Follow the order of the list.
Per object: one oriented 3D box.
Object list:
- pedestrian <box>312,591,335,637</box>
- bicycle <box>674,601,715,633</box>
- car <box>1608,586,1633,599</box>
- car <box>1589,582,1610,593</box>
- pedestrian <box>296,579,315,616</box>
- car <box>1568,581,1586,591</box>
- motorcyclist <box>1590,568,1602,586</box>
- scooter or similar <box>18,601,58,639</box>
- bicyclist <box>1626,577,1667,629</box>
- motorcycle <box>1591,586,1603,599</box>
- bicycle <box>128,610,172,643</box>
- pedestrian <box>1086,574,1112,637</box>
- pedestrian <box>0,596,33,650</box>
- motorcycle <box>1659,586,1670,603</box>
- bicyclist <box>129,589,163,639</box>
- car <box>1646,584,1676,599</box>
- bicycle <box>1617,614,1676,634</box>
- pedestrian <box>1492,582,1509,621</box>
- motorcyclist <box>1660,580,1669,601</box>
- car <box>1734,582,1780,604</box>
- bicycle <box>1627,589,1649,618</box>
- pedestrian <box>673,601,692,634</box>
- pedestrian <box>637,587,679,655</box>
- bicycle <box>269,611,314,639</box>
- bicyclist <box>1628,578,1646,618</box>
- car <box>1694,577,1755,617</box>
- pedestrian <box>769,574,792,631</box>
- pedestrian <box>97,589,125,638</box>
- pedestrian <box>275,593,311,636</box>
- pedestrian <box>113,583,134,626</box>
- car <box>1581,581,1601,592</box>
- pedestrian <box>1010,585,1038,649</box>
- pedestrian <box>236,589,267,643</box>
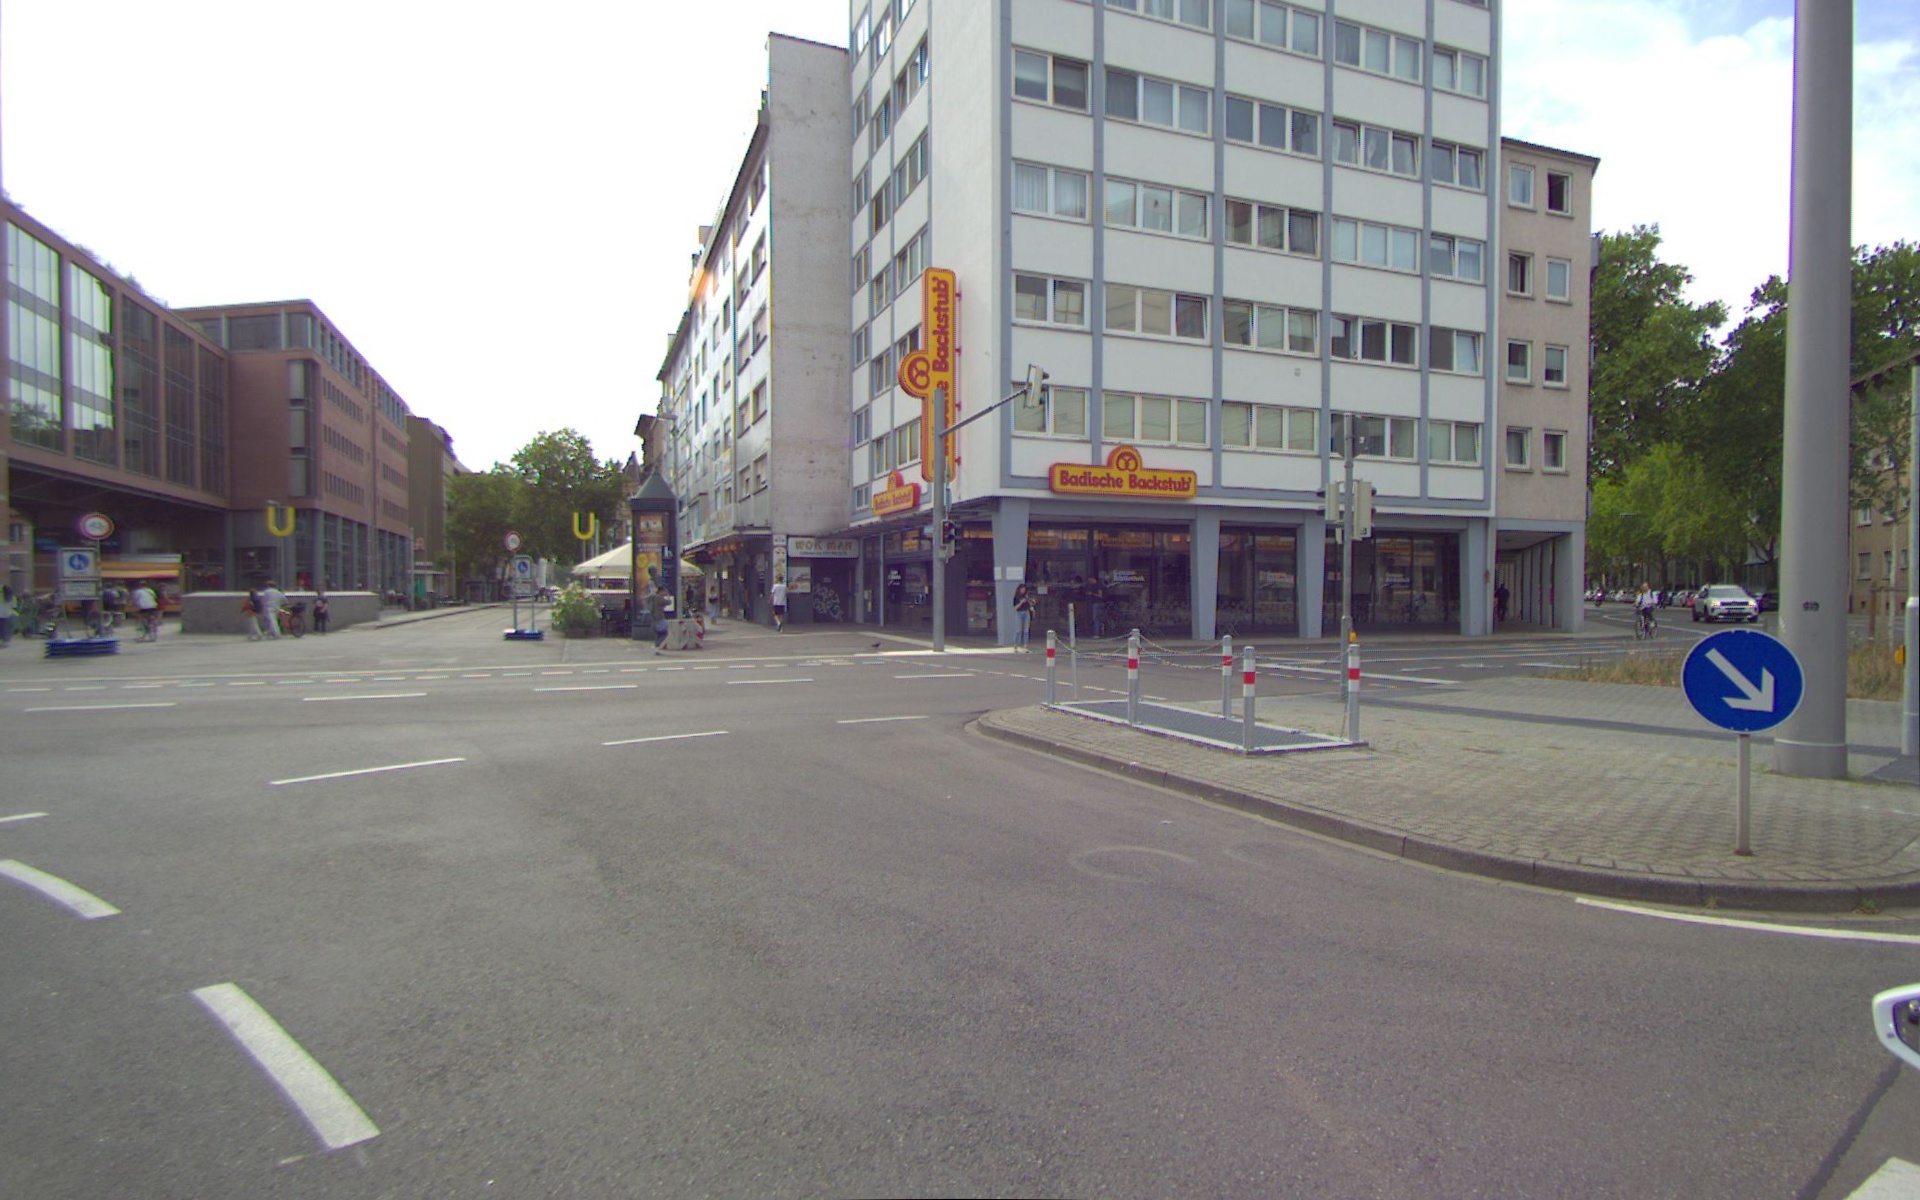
[{"bbox_3d":[-22.182,0.479,35.011,0.513,1.598,0.505,-1,1,-19],"label":"pedestrian"},{"bbox_3d":[-8.765,0.552,33.128,1.764,1.002,0.470,0,2,45],"label":"bicycle"},{"bbox_3d":[76.644,-0.872,116.535,1.649,1.412,4.458,0,1,23],"label":"car"},{"bbox_3d":[83.192,-1.658,130.678,1.614,1.432,3.415,0,1,20],"label":"car"},{"bbox_3d":[-30.087,-0.107,46.160,0.572,1.686,0.518,-1,1,-20],"label":"pedestrian"},{"bbox_3d":[88.671,-2.030,144.369,1.649,1.412,3.876,0,1,23],"label":"car"},{"bbox_3d":[53.843,-1.902,85.040,0.784,1.480,0.864,-2,0,27],"label":"motorcyclist"},{"bbox_3d":[-28.927,0.624,31.510,1.268,1.185,0.383,0,1,22],"label":"scooter or similar"},{"bbox_3d":[22.235,0.096,32.517,1.021,1.668,0.607,-1,1,-18],"label":"bicyclist"},{"bbox_3d":[53.761,-0.617,84.797,0.710,1.109,2.033,0,1,27],"label":"motorcycle"},{"bbox_3d":[-25.907,0.840,32.122,1.756,1.002,0.472,0,1,29],"label":"bicycle"},{"bbox_3d":[4.057,0.156,29.364,0.580,1.789,0.475,-2,2,-21],"label":"pedestrian"},{"bbox_3d":[-26.385,0.630,27.989,0.572,1.492,0.652,-1,1,-20],"label":"pedestrian"},{"bbox_3d":[56.010,-0.447,79.853,0.367,1.368,1.730,0,1,24],"label":"motorcycle"},{"bbox_3d":[-25.956,0.435,32.032,0.867,1.591,0.546,0,1,29],"label":"bicyclist"},{"bbox_3d":[68.877,-0.859,98.753,1.604,1.489,4.315,0,1,23],"label":"car"},{"bbox_3d":[22.323,0.766,32.657,1.966,0.596,0.483,-1,1,-18],"label":"bicycle"},{"bbox_3d":[24.867,0.053,46.223,0.572,1.781,0.783,2,2,24],"label":"pedestrian"},{"bbox_3d":[56.066,-0.780,79.947,0.439,1.669,0.519,0,1,24],"label":"motorcyclist"},{"bbox_3d":[56.694,-0.513,71.501,1.631,1.441,3.863,0,2,24],"label":"car"},{"bbox_3d":[29.827,0.138,44.173,0.503,1.241,1.563,0,1,23],"label":"bicycle"},{"bbox_3d":[-9.834,0.621,35.607,0.527,1.148,0.440,0,2,40],"label":"pedestrian"},{"bbox_3d":[-7.354,0.490,24.453,0.648,1.615,0.688,0,1,26],"label":"pedestrian"},{"bbox_3d":[-21.858,0.813,32.845,1.756,0.900,0.472,0,1,29],"label":"bicycle"},{"bbox_3d":[29.830,-0.093,44.261,0.529,1.767,0.757,0,1,24],"label":"bicyclist"},{"bbox_3d":[34.481,-0.165,45.414,1.806,1.682,4.313,0,1,32],"label":"car"},{"bbox_3d":[-6.061,0.074,33.935,0.572,1.884,0.860,-1,1,-22],"label":"pedestrian"},{"bbox_3d":[-29.522,0.458,34.941,0.572,1.686,0.518,-1,1,-20],"label":"pedestrian"},{"bbox_3d":[-21.760,0.467,32.769,0.849,1.394,0.632,0,1,28],"label":"pedestrian"},{"bbox_3d":[-32.921,0.164,39.542,0.457,1.686,0.518,-1,1,-20],"label":"pedestrian"},{"bbox_3d":[85.065,-1.799,135.433,1.614,1.413,3.512,2,2,20],"label":"car"},{"bbox_3d":[1.592,0.410,24.991,0.511,1.580,0.496,-1,1,-28],"label":"pedestrian"},{"bbox_3d":[-22.396,0.498,31.765,0.459,1.663,0.632,0,2,30],"label":"pedestrian"}]
